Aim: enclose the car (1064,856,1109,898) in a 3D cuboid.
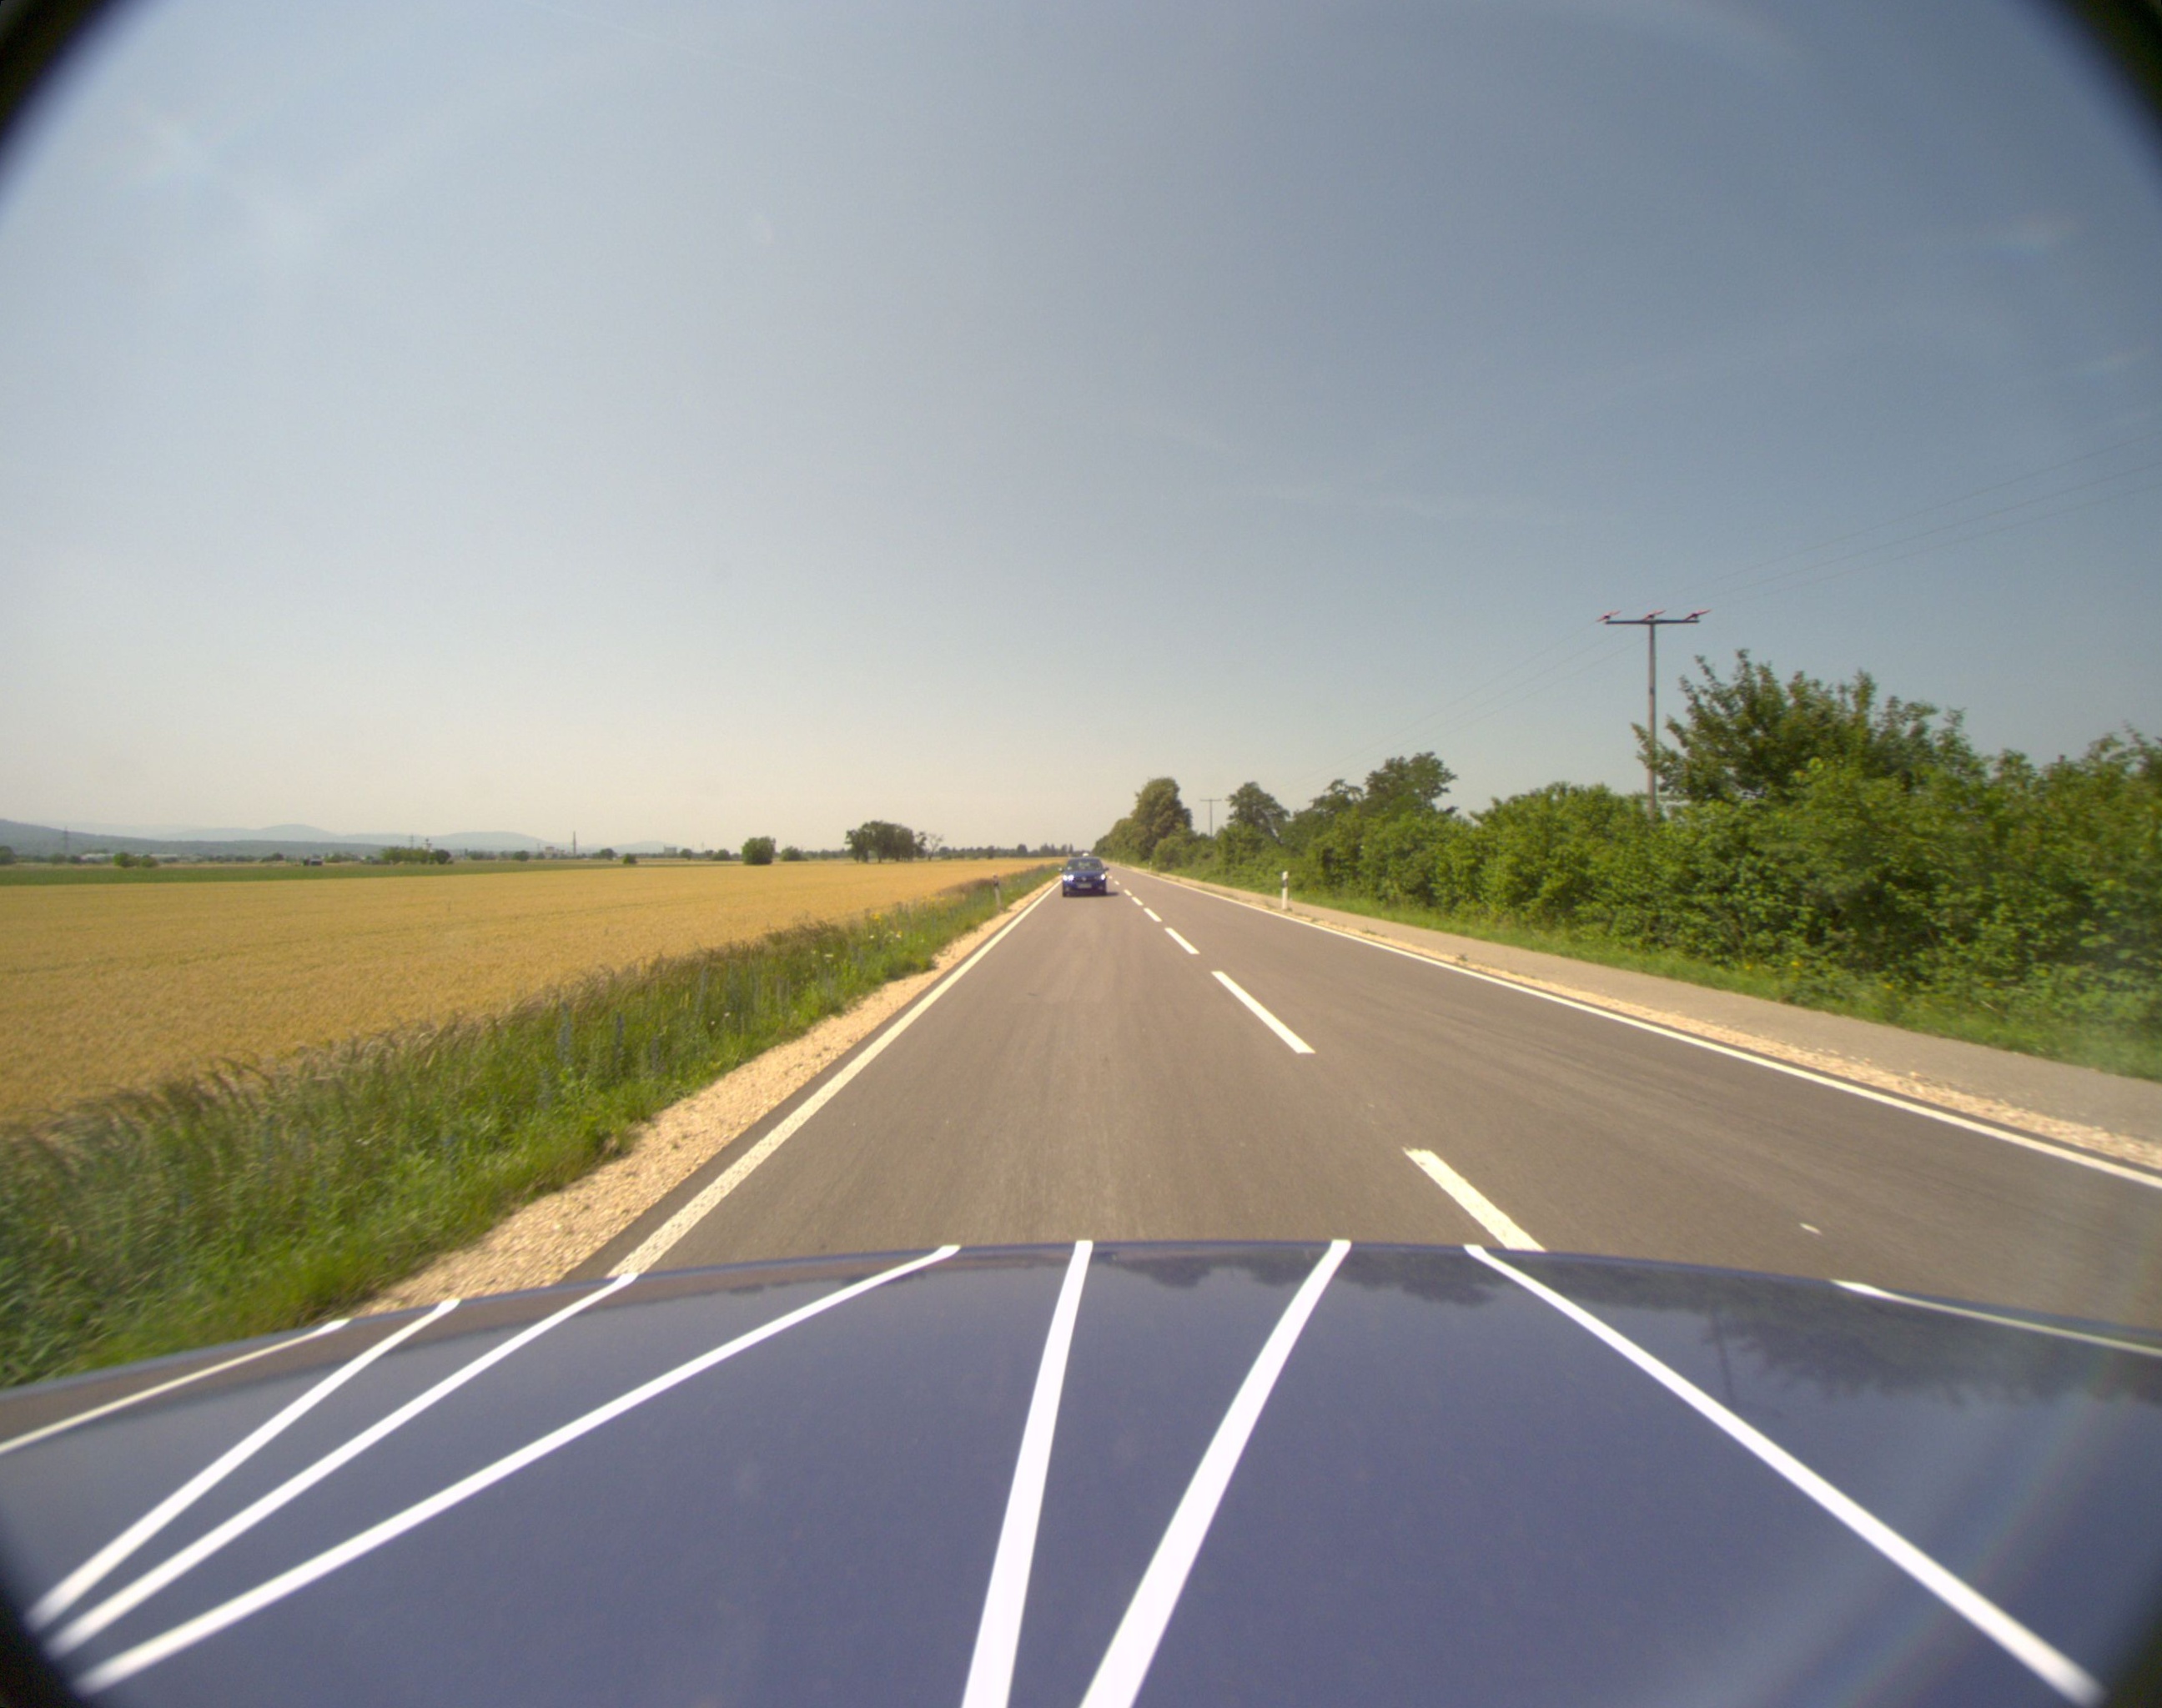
[{"bbox_3d":[0.220,0.871,30.829,1.662,1.508,4.000,-2,0,0],"label":"car"}]
